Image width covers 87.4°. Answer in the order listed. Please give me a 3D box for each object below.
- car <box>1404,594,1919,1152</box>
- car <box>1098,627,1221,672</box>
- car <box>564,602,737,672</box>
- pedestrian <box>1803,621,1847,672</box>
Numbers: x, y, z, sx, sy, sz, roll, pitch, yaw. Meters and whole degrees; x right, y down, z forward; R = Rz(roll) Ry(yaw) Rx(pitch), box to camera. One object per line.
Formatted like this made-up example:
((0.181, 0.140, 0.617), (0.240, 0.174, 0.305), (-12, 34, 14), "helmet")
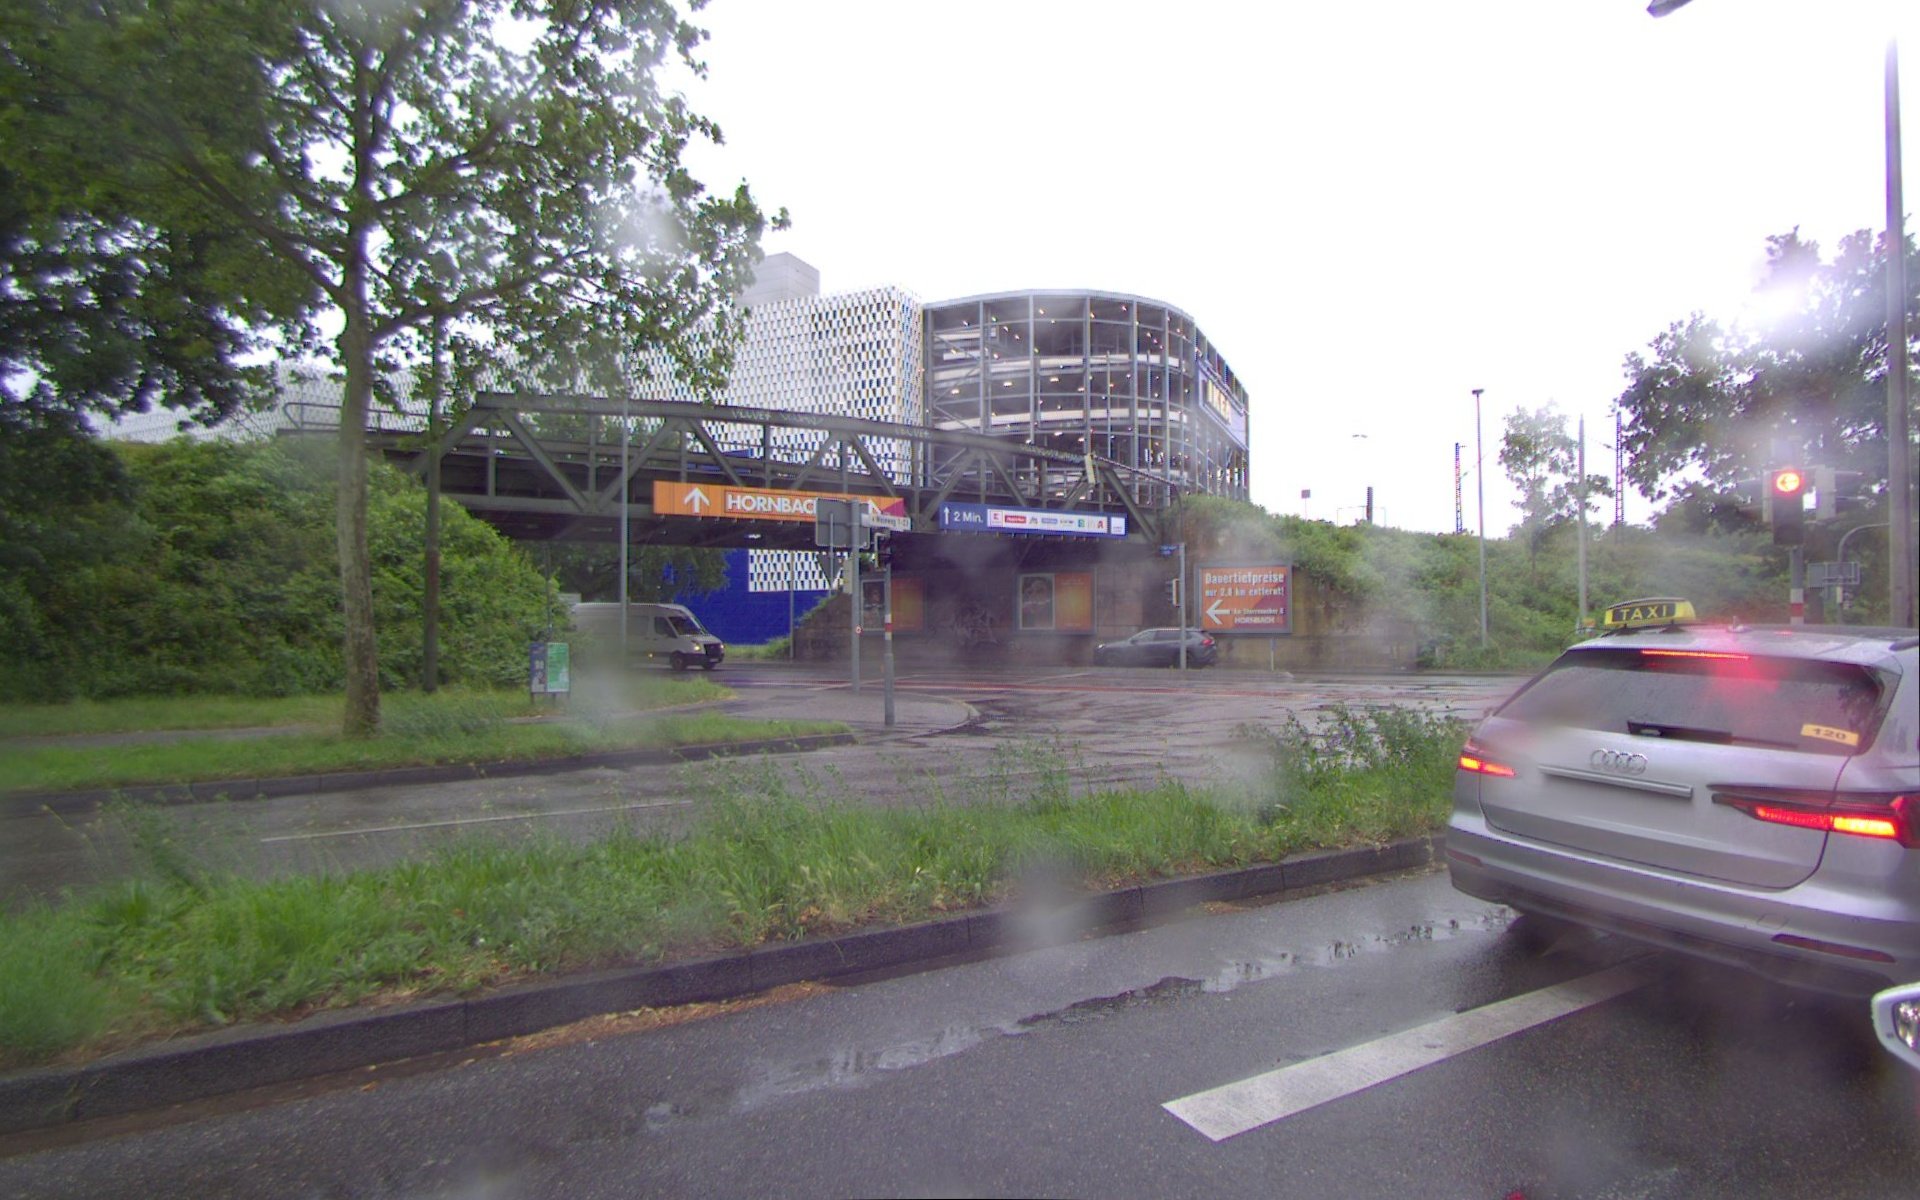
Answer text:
((4.407, 0.818, 4.816), (4.766, 1.595, 1.760), (1, 0, -31), "car")
((7.352, 1.799, 36.956), (4.166, 1.580, 1.746), (-1, -2, 24), "car")
((-12.513, 1.495, 40.498), (6.847, 2.645, 2.386), (-1, -2, 25), "car")
((32.370, 1.744, 37.597), (1.122, 1.871, 1.092), (2, -2, -41), "pedestrian")
